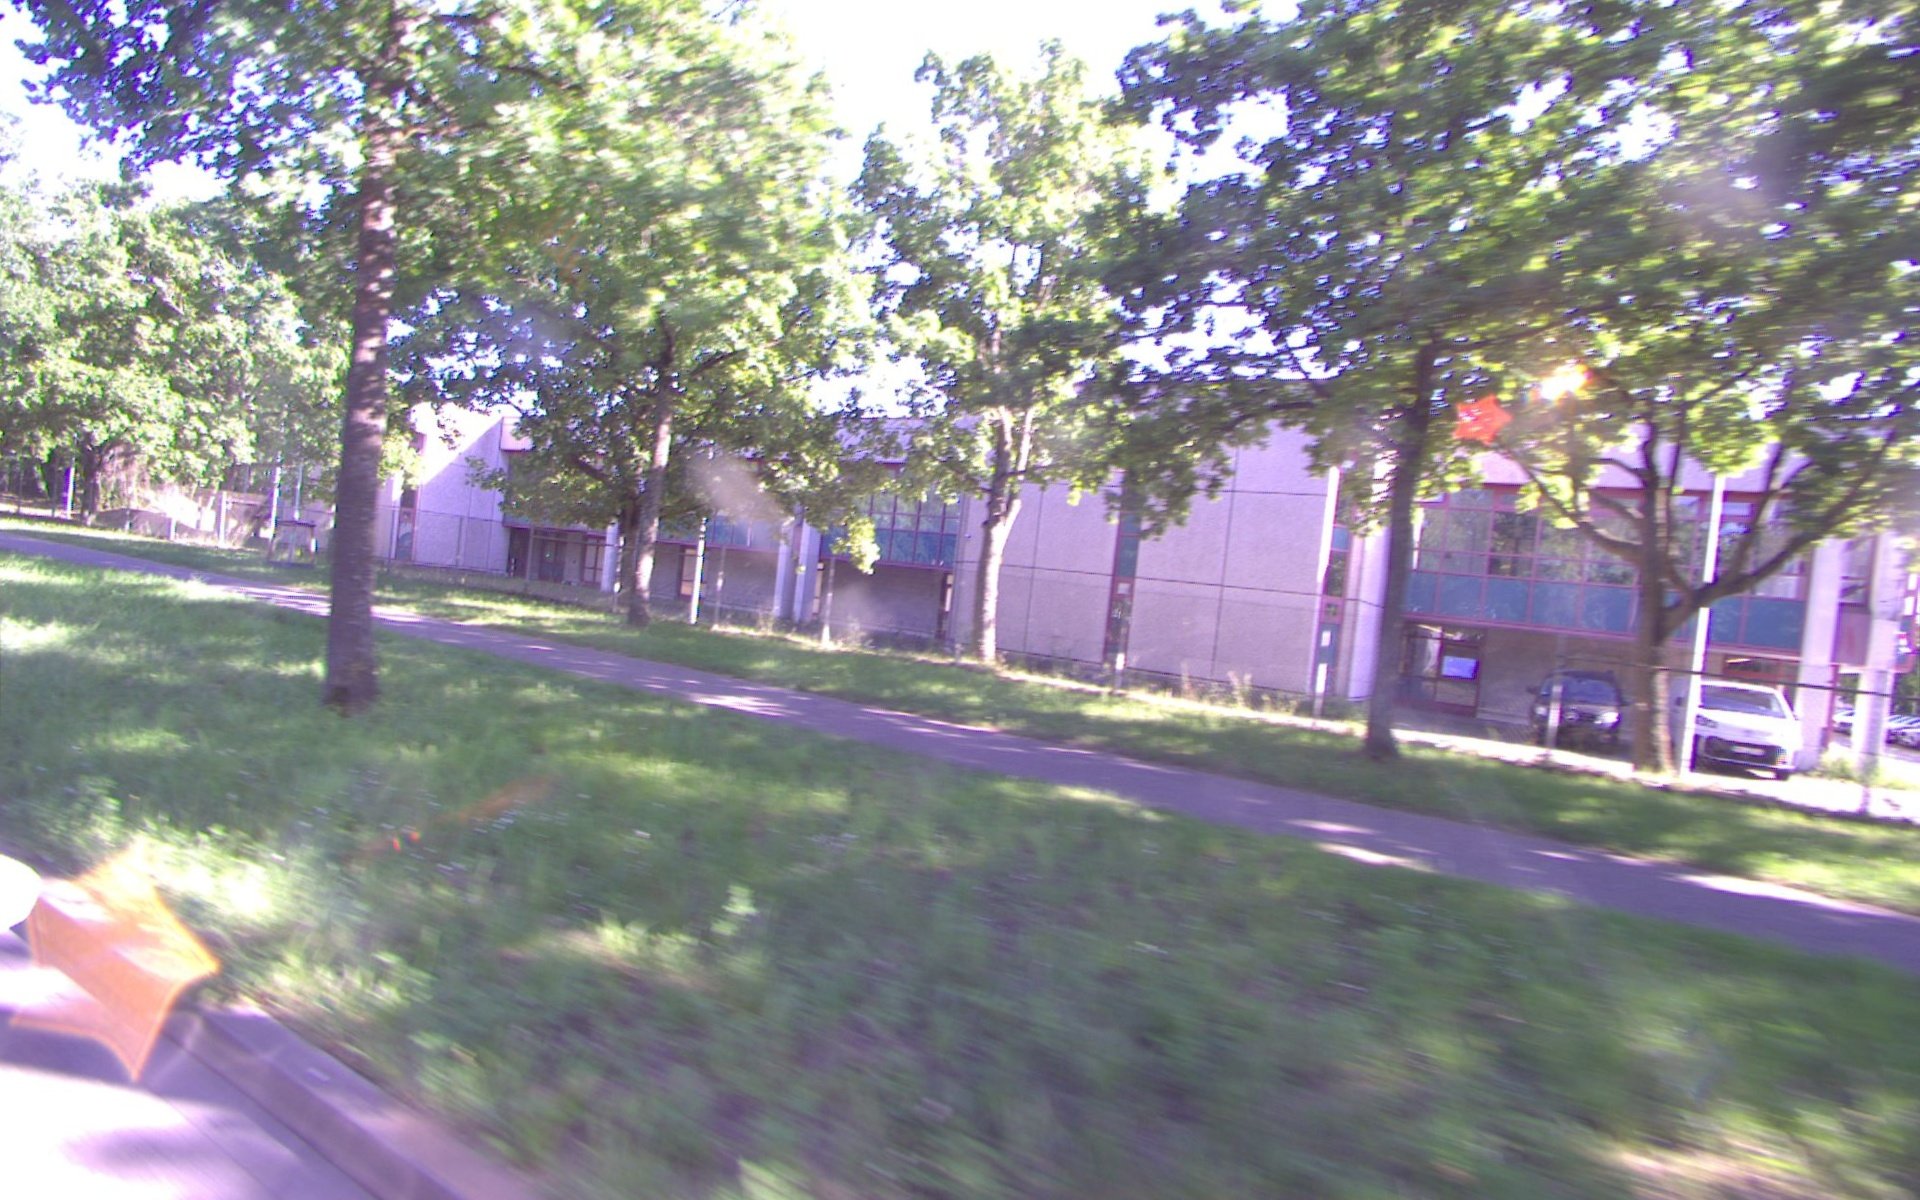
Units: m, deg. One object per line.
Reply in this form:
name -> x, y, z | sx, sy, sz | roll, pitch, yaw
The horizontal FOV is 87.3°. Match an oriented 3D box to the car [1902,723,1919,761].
car -> 45.971, 6.799, 45.743 | 4.280, 1.693, 1.737 | 6, -1, 38

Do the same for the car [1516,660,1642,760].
car -> 14.777, 2.516, 24.296 | 1.965, 1.907, 4.957 | 7, 0, 27

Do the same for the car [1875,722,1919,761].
car -> 47.750, 7.143, 49.119 | 4.280, 1.693, 1.737 | 6, -1, 38

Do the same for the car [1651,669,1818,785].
car -> 17.350, 2.727, 22.829 | 1.862, 1.984, 5.071 | 7, 1, 27
